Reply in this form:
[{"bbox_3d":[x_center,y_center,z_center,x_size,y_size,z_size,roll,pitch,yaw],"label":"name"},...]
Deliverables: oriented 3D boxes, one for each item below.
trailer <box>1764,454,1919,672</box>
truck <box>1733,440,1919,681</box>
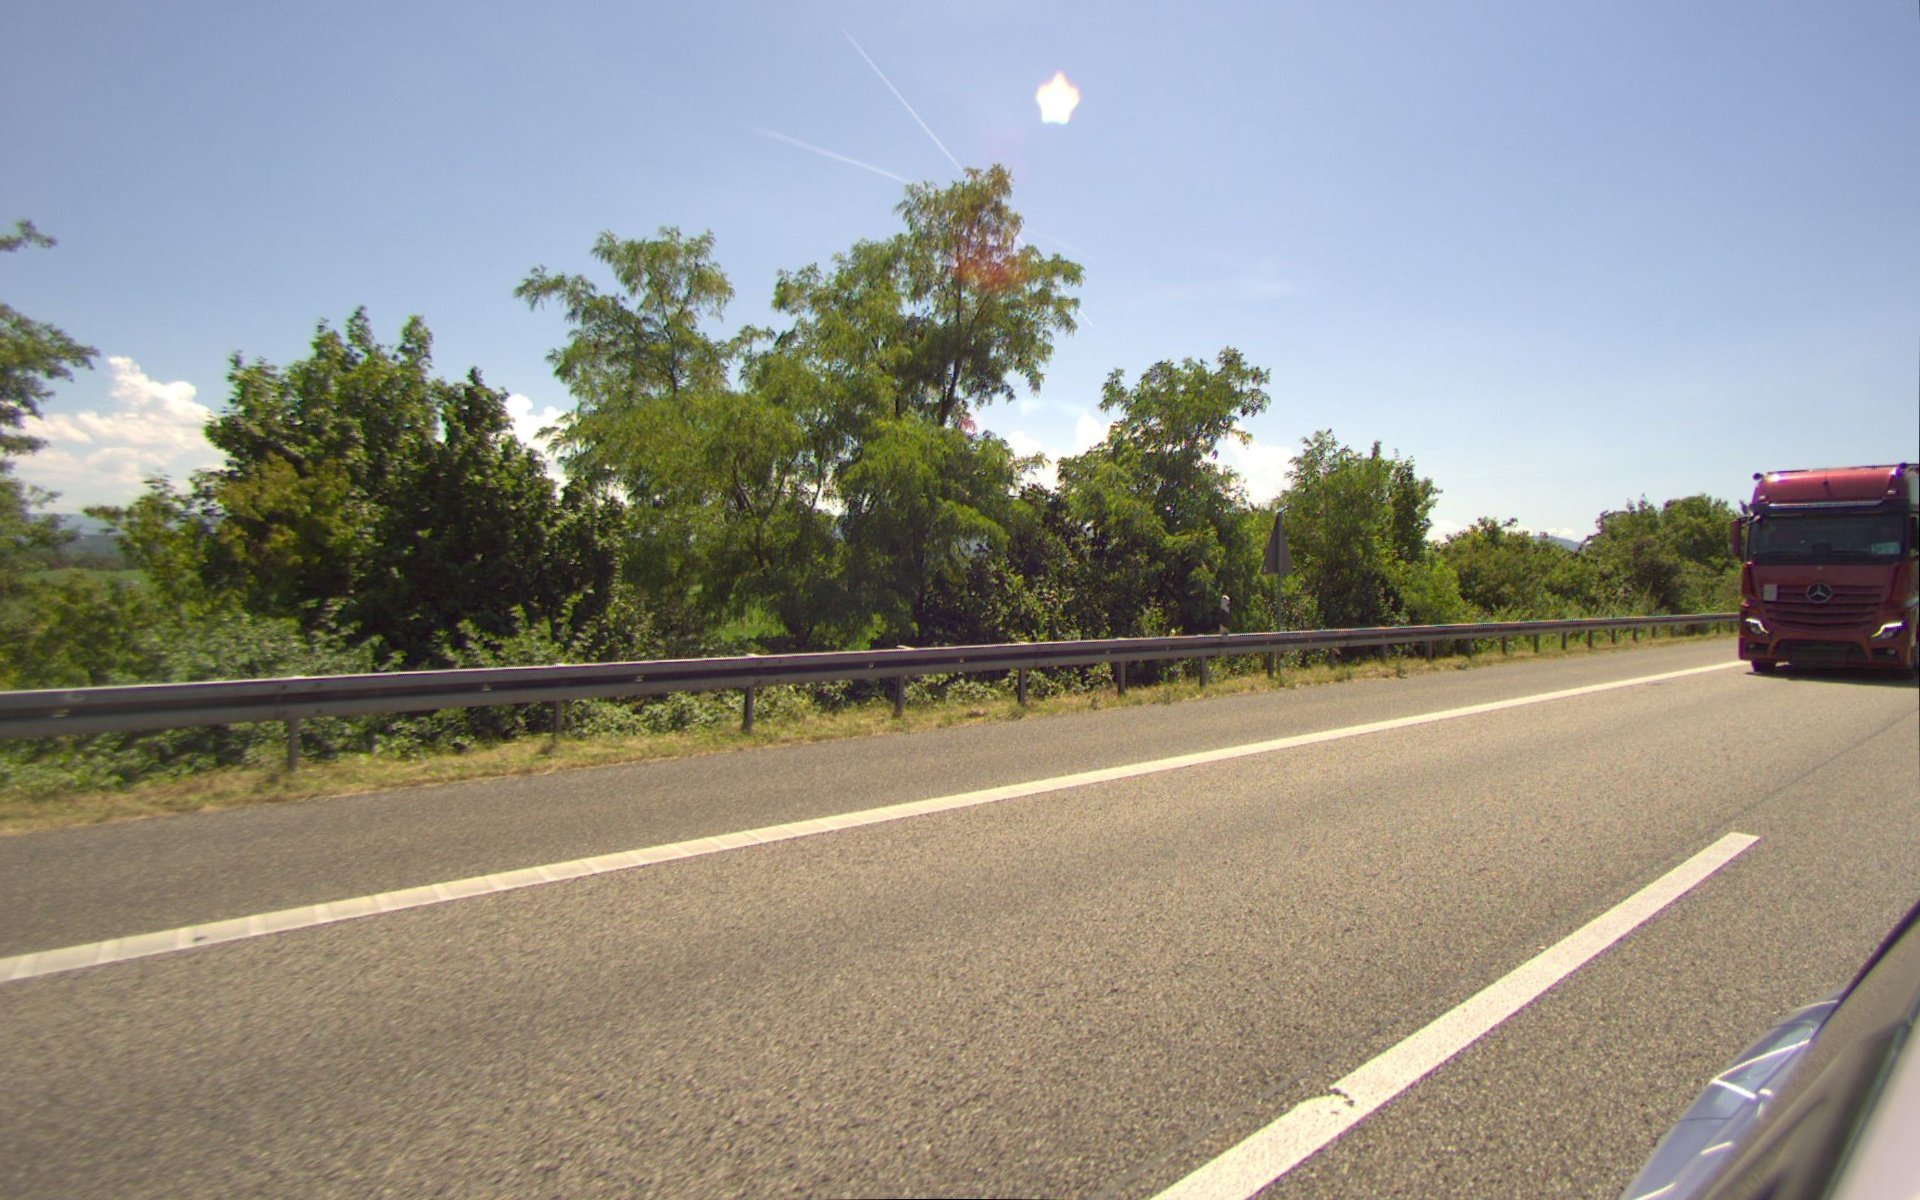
[{"bbox_3d":[22.904,-0.734,24.512,13.902,4.139,2.713,0,2,-41],"label":"trailer"},{"bbox_3d":[18.325,-0.729,20.559,6.842,4.139,2.713,0,2,-41],"label":"truck"}]
